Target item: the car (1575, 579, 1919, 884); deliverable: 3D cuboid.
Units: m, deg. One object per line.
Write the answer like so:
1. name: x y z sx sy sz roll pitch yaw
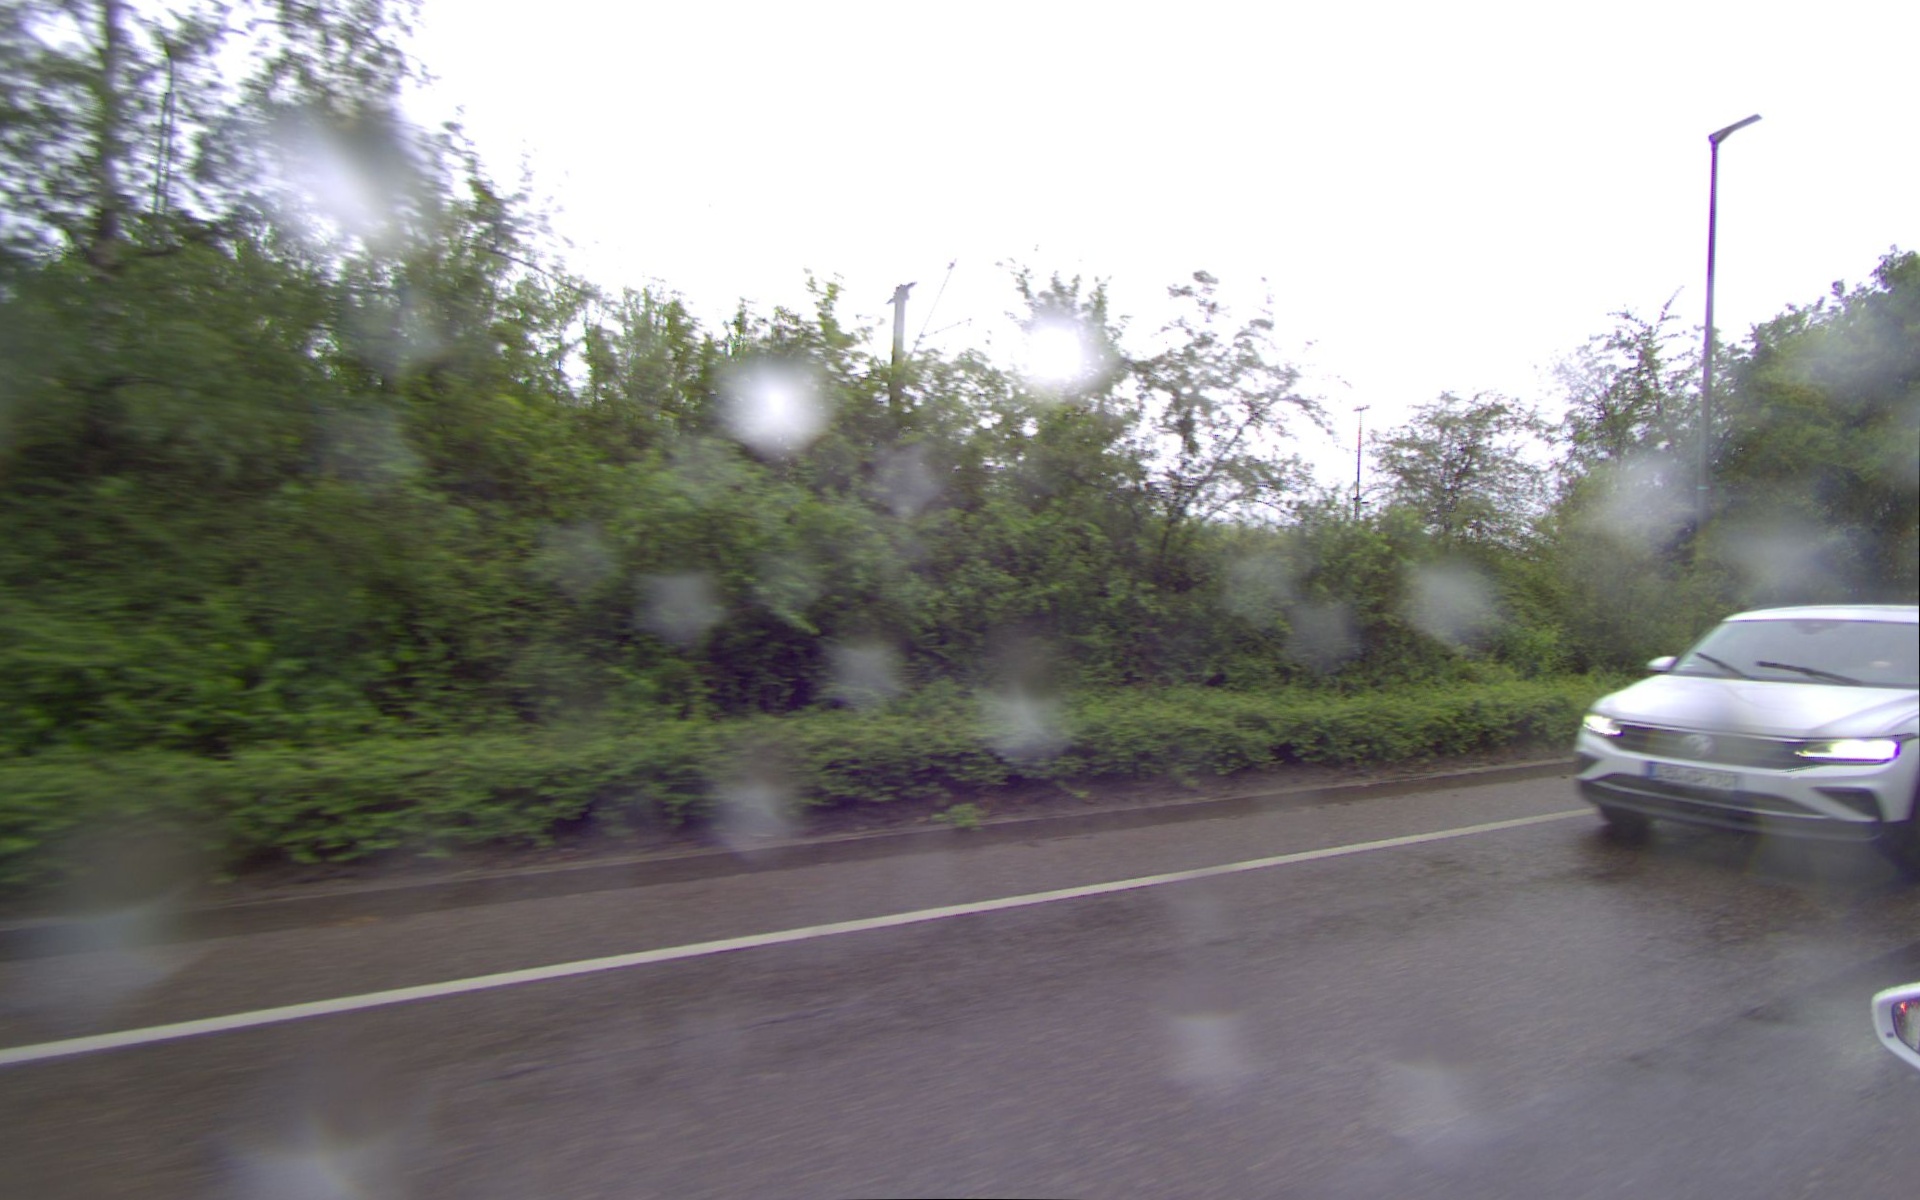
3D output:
1. car: 6.454 0.742 7.217 4.046 1.636 1.813 1 0 -31
